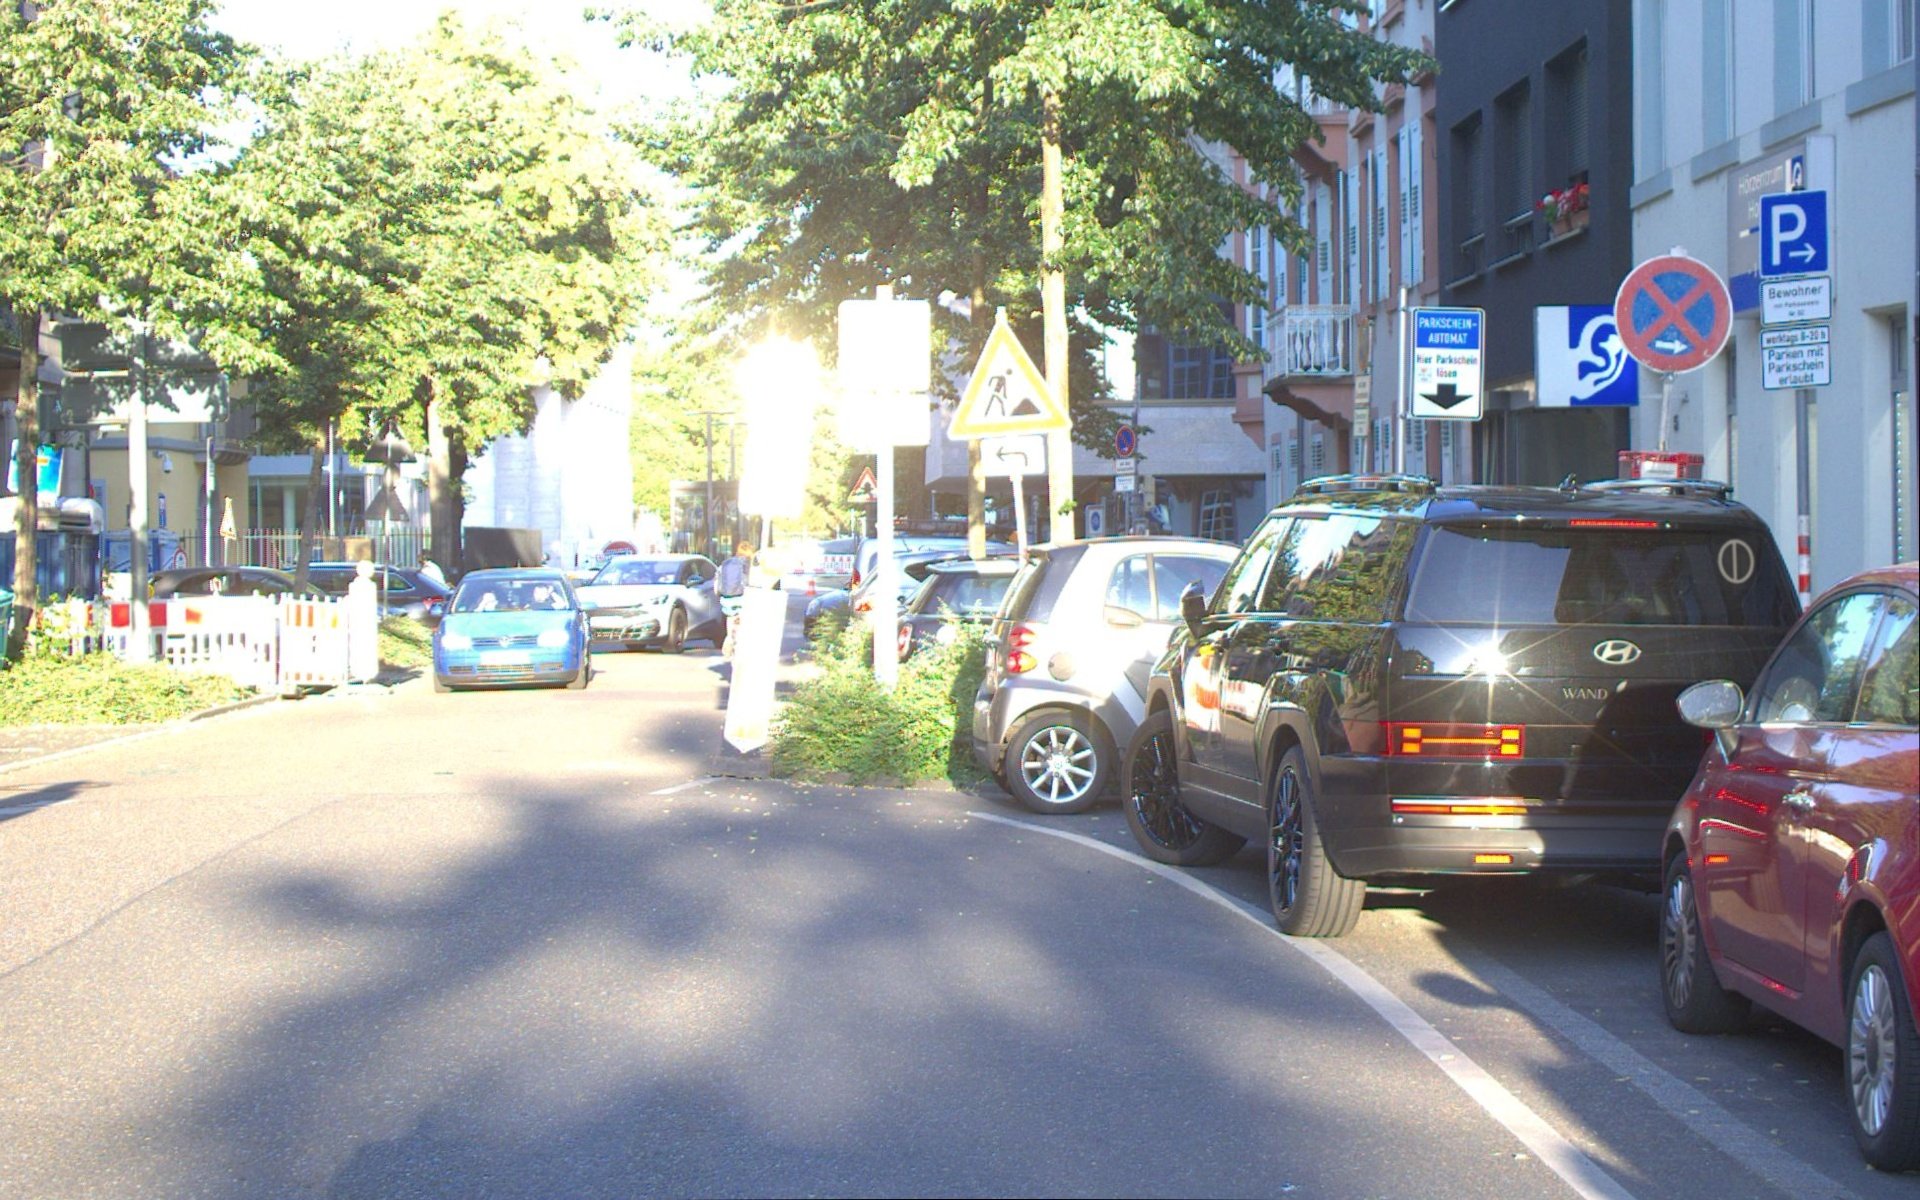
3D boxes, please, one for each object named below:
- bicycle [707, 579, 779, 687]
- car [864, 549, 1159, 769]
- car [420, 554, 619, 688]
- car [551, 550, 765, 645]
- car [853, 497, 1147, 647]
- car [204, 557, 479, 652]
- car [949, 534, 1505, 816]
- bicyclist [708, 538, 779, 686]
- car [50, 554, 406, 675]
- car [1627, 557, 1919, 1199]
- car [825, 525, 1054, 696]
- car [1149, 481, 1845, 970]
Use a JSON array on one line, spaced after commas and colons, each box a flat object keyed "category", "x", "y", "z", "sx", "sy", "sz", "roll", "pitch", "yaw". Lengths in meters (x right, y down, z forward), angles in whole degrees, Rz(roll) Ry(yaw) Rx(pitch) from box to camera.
[{"category": "bicycle", "x": -2.548, "y": 0.371, "z": 40.240, "sx": 0.780, "sy": 1.200, "sz": 2.021, "roll": -1, "pitch": 1, "yaw": -4}, {"category": "car", "x": 0.335, "y": 0.437, "z": 28.551, "sx": 1.993, "sy": 1.662, "sz": 4.510, "roll": 1, "pitch": 0, "yaw": -5}, {"category": "car", "x": -5.147, "y": 0.208, "z": 40.674, "sx": 1.838, "sy": 1.436, "sz": 4.332, "roll": -1, "pitch": 1, "yaw": -1}, {"category": "car", "x": -4.905, "y": -0.049, "z": 56.452, "sx": 1.886, "sy": 1.475, "sz": 4.455, "roll": 1, "pitch": 0, "yaw": 18}, {"category": "car", "x": 0.584, "y": -0.394, "z": 47.831, "sx": 3.987, "sy": 2.007, "sz": 2.000, "roll": 0, "pitch": 1, "yaw": 3}, {"category": "car", "x": -9.977, "y": 0.064, "z": 55.652, "sx": 4.102, "sy": 1.461, "sz": 1.889, "roll": 1, "pitch": 0, "yaw": 0}, {"category": "car", "x": 1.491, "y": 0.416, "z": 19.782, "sx": 2.968, "sy": 1.531, "sz": 1.434, "roll": 1, "pitch": 0, "yaw": -6}, {"category": "bicyclist", "x": -2.541, "y": 0.138, "z": 40.249, "sx": 0.780, "sy": 1.690, "sz": 1.007, "roll": -1, "pitch": 0, "yaw": -4}, {"category": "car", "x": -9.243, "y": 0.171, "z": 43.657, "sx": 4.102, "sy": 1.461, "sz": 1.889, "roll": 1, "pitch": 0, "yaw": 0}, {"category": "car", "x": 2.955, "y": 0.638, "z": 9.456, "sx": 1.587, "sy": 1.478, "sz": 3.266, "roll": 1, "pitch": 0, "yaw": 0}, {"category": "car", "x": -0.319, "y": 0.103, "z": 41.738, "sx": 2.265, "sy": 1.760, "sz": 4.510, "roll": 5, "pitch": 0, "yaw": -5}, {"category": "car", "x": 1.998, "y": 0.424, "z": 14.155, "sx": 1.824, "sy": 1.689, "sz": 4.369, "roll": 1, "pitch": 0, "yaw": -5}]
